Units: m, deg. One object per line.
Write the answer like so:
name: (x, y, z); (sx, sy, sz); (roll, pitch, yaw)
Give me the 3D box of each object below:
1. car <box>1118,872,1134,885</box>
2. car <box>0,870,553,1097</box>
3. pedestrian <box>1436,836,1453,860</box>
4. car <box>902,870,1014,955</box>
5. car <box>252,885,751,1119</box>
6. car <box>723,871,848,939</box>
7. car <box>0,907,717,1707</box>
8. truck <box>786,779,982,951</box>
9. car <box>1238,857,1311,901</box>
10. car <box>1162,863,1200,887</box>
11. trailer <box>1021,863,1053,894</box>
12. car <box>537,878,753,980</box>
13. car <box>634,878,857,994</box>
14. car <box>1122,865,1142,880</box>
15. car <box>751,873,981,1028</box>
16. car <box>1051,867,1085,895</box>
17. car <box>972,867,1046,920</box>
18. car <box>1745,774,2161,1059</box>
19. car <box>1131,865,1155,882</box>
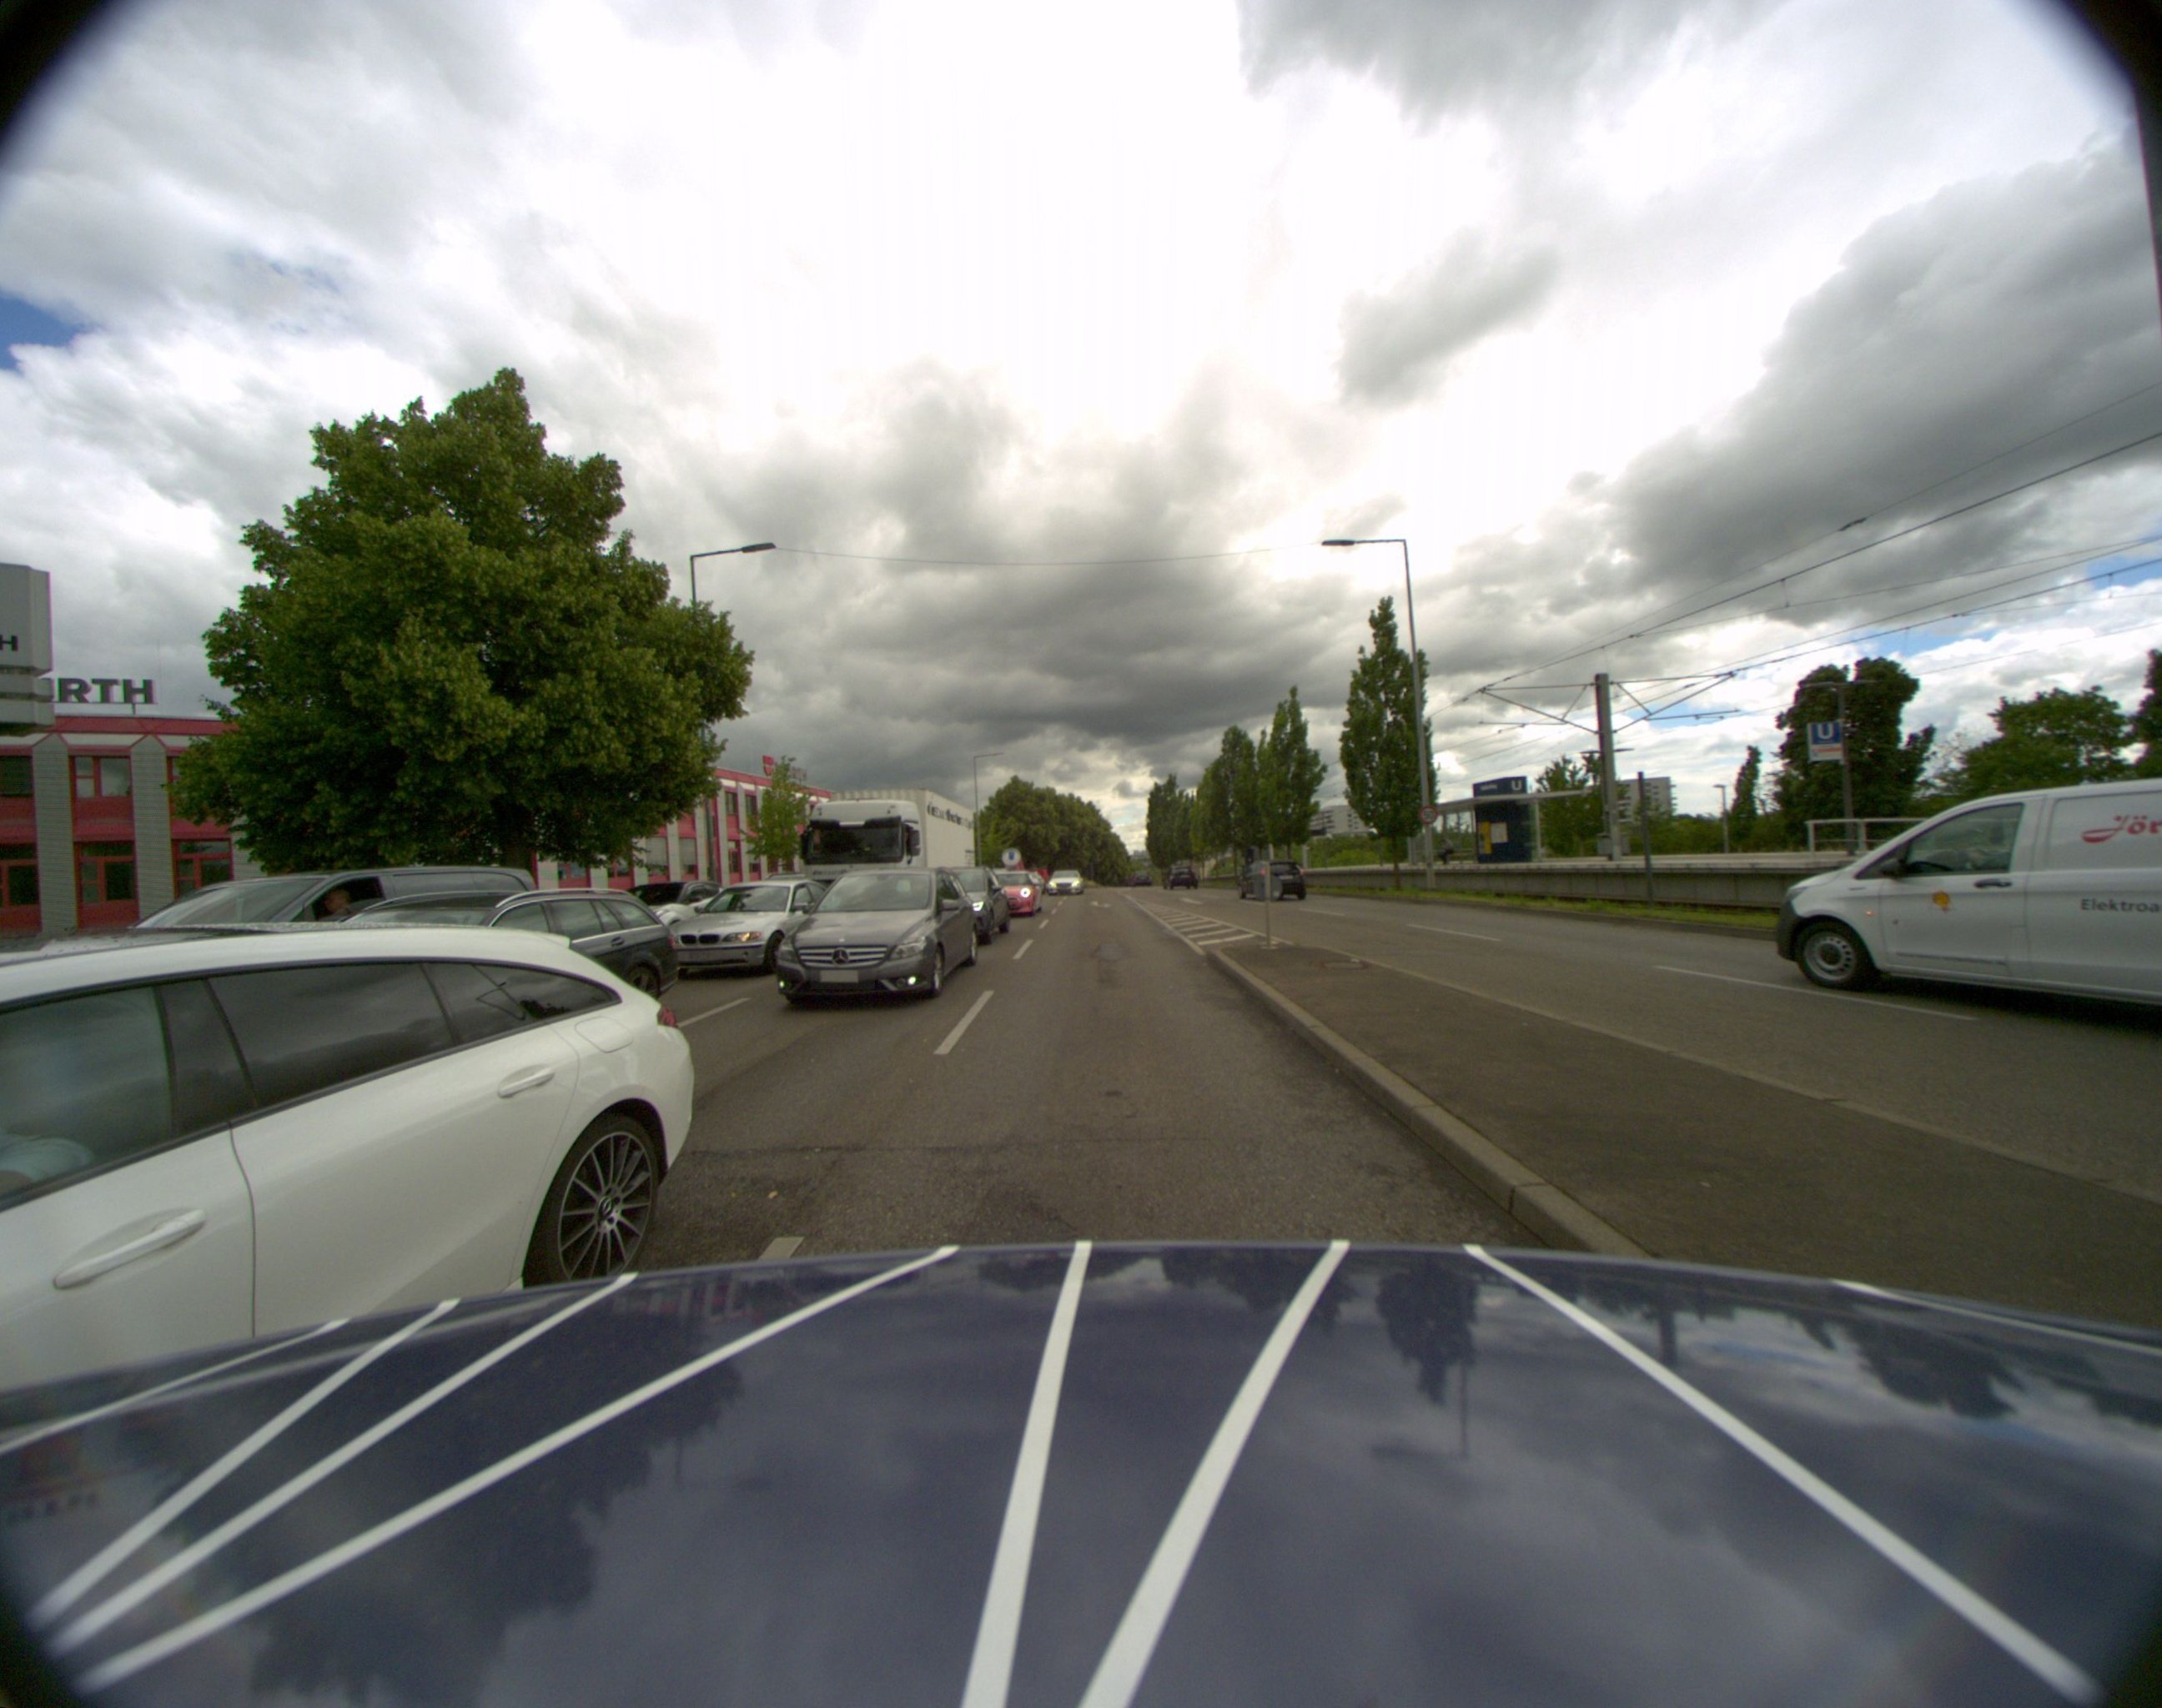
car: (6.257, 3.410, 105.950); (1.700, 1.441, 3.933); (-4, 1, -1)
car: (-8.810, 1.186, 8.930); (1.763, 1.765, 4.675); (-2, 1, 2)
pedestrian: (17.556, -0.290, 36.716); (0.601, 1.148, 0.447); (-2, 1, 1)
car: (-2.442, 1.117, 15.972); (1.628, 1.484, 3.838); (-2, -1, 1)
car: (-5.320, 1.212, 7.917); (1.750, 1.476, 4.355); (-2, 1, 1)
car: (-8.443, 1.387, 22.156); (1.865, 1.648, 4.209); (-4, -1, 1)
car: (-2.648, 1.054, 1.246); (1.849, 1.498, 4.530); (-2, 1, 0)
truck: (-5.243, 0.265, 22.735); (2.809, 3.880, 10.182); (-2, 0, 2)
car: (7.023, 0.873, 27.876); (1.700, 1.440, 3.660); (-2, 0, 0)
car: (6.312, 1.316, 48.328); (1.700, 1.440, 3.934); (-2, -1, -3)
trailer: (-2.981, 1.630, 52.121); (1.775, 1.650, 3.994); (-2, 4, 1)
car: (-8.591, 1.396, 15.482); (1.844, 1.507, 4.106); (-6, 0, 1)
car: (-5.340, 1.227, 12.816); (1.750, 1.374, 4.290); (-2, 1, 1)
car: (5.581, 2.010, 83.486); (1.700, 1.440, 3.934); (-2, 0, -1)
car: (-2.505, 1.057, 9.927); (1.750, 1.499, 4.048); (-2, -1, 1)
car: (-0.703, 1.536, 44.258); (1.804, 1.403, 4.316); (-2, 1, 1)
car: (-2.209, 1.199, 24.079); (1.825, 1.496, 3.496); (-2, -1, 2)
car: (8.343, 0.390, 5.698); (1.920, 1.953, 5.372); (-2, 1, -1)
car: (5.772, 1.790, 70.762); (1.813, 1.440, 3.934); (-2, 0, -1)
